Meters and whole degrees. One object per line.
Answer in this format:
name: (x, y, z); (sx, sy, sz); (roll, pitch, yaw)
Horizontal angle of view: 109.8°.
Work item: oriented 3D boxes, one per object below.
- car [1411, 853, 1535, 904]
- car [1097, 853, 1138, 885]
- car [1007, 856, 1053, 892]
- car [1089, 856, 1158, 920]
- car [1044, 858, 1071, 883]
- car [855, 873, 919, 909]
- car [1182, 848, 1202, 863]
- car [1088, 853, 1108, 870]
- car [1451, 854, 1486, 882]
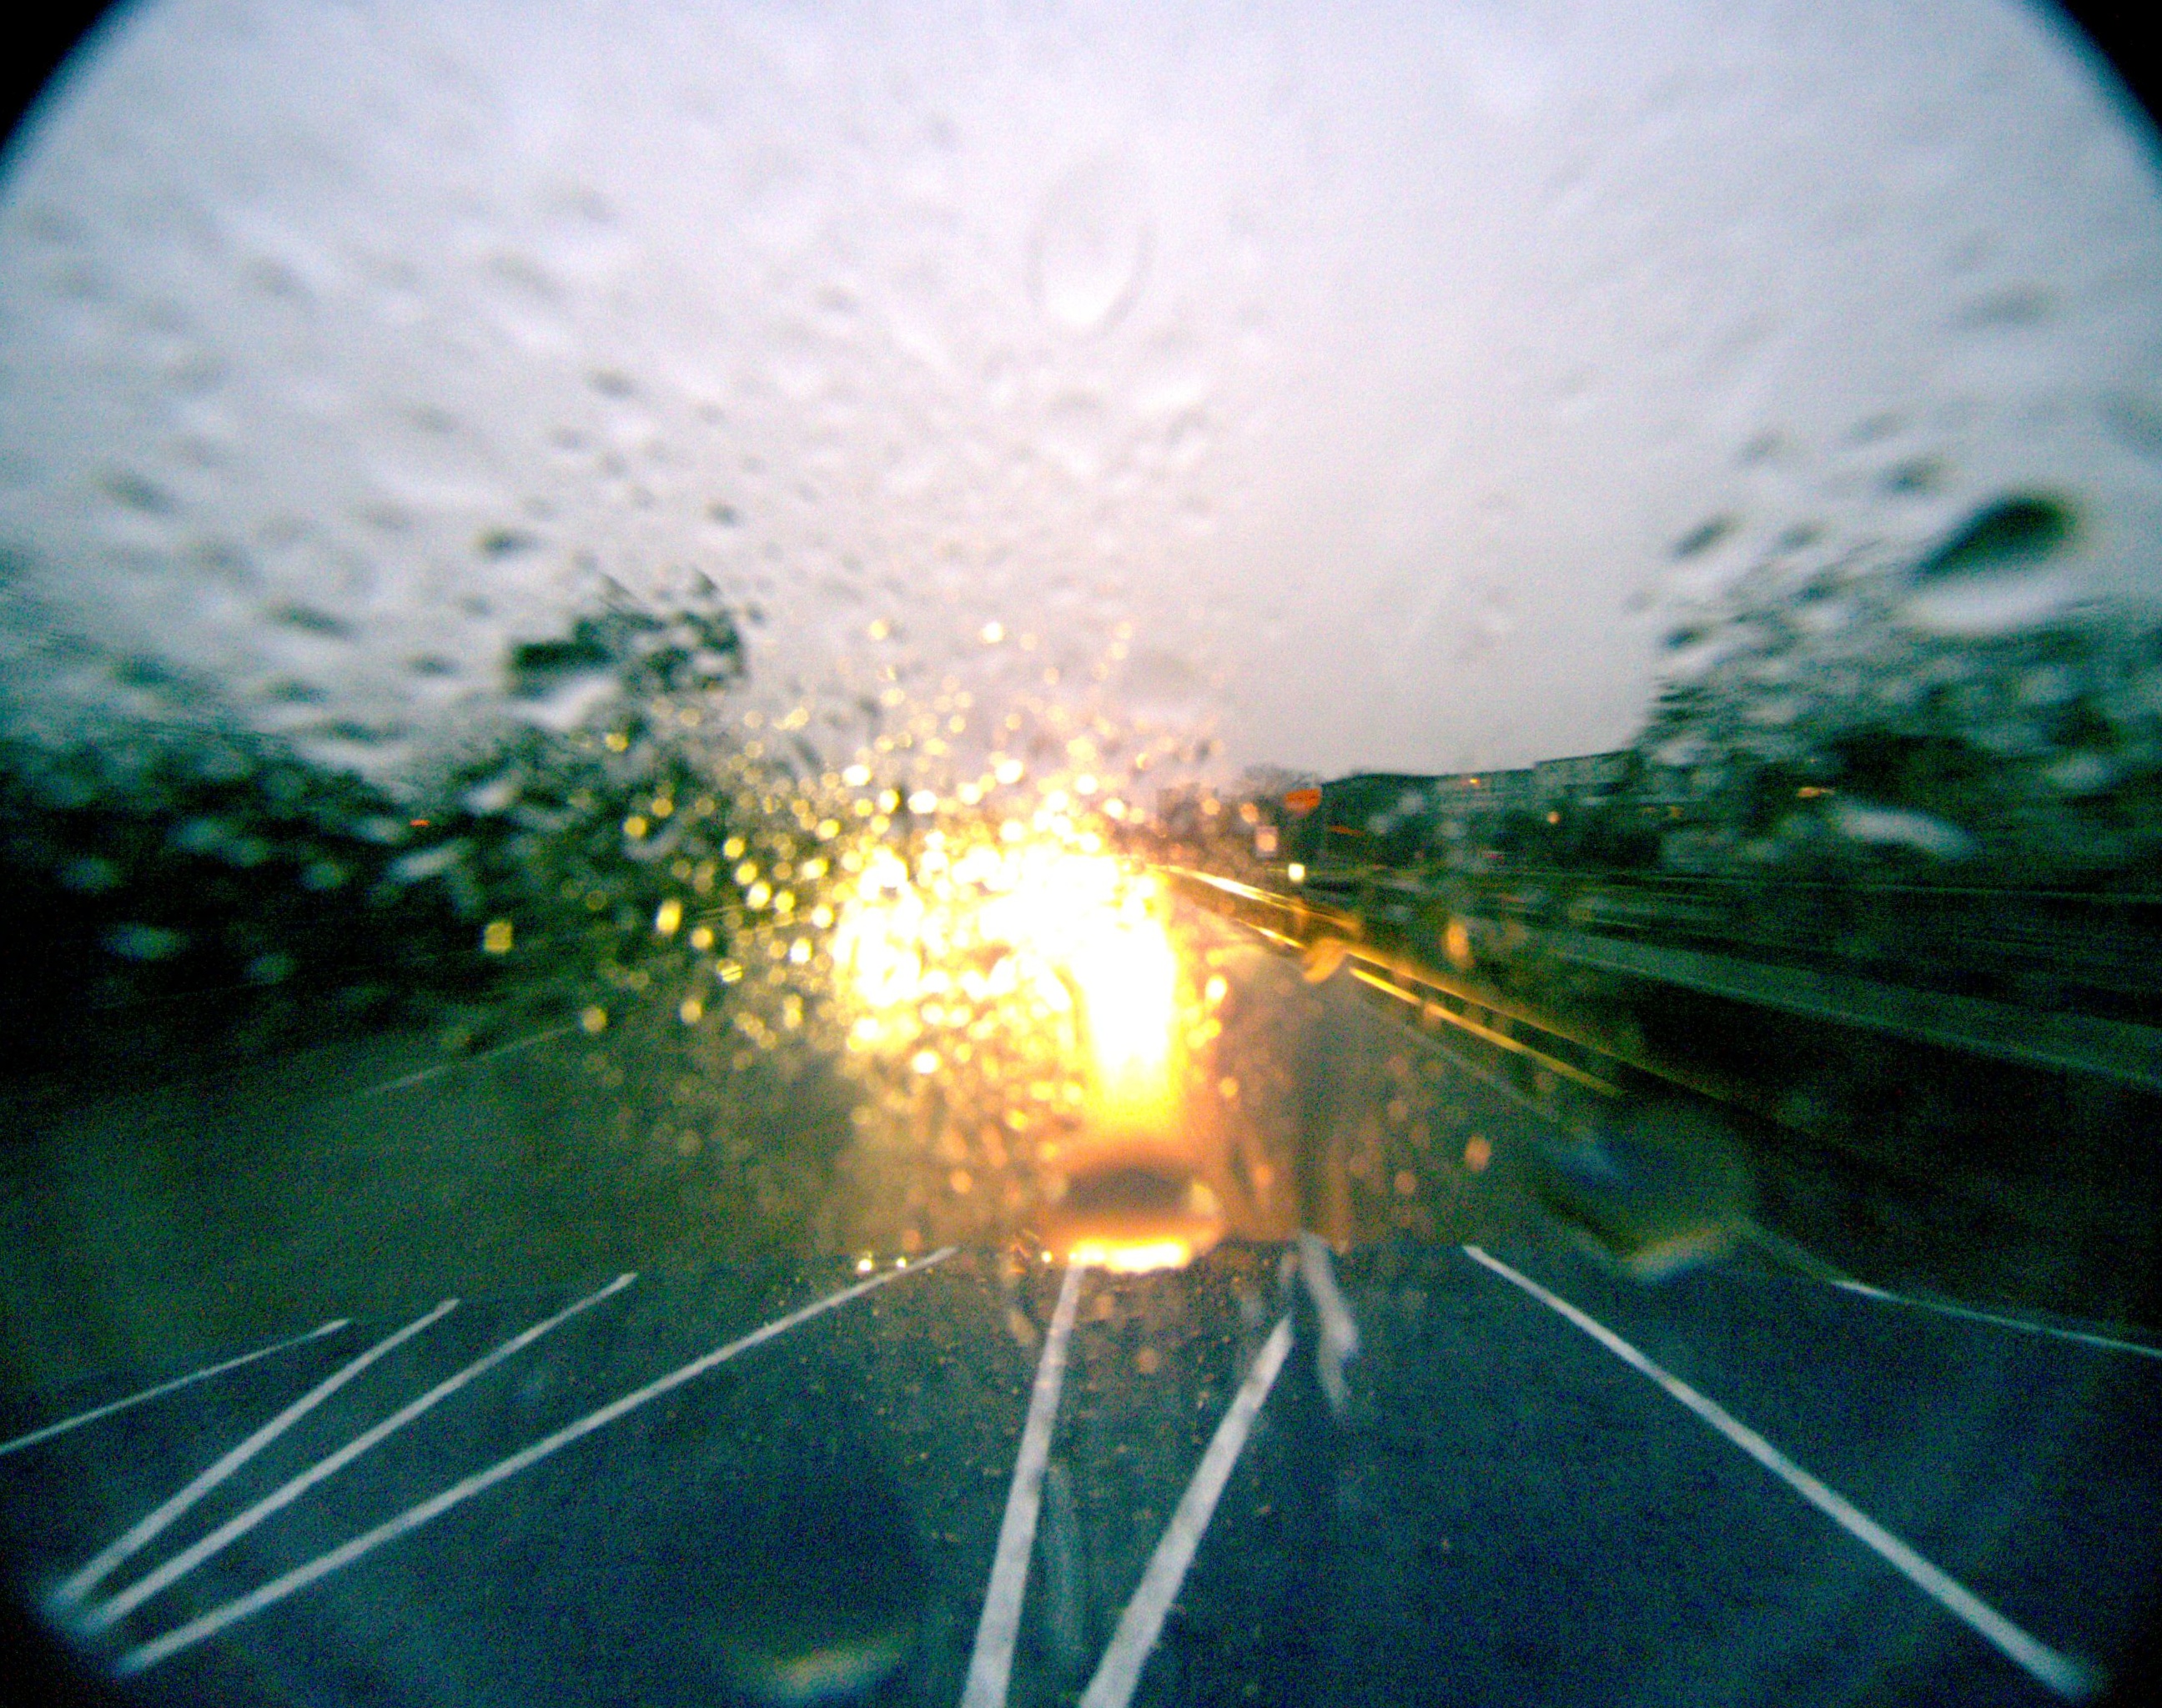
car: (13.481, 0.782, 26.521); (1.790, 1.555, 4.851); (-2, 0, 0)
car: (1.857, 0.759, 39.903); (2.026, 1.521, 4.146); (-1, 0, 1)
car: (-2.317, 0.875, 35.275); (1.830, 1.524, 4.000); (-1, 0, 0)
car: (1.199, 0.906, 22.055); (1.765, 1.590, 4.165); (-1, 0, 2)
car: (-1.587, 1.140, 52.542); (1.728, 1.572, 3.790); (-1, 0, 0)
car: (-8.391, 1.526, 32.598); (1.937, 1.351, 4.389); (-2, 0, -23)
car: (14.985, 0.160, 102.752); (1.999, 1.907, 4.286); (-2, 0, -1)
car: (1.744, 0.719, 78.214); (1.853, 1.610, 3.950); (-3, 1, -1)
car: (24.258, 0.863, 47.656); (1.841, 1.553, 4.690); (-2, 0, 26)
